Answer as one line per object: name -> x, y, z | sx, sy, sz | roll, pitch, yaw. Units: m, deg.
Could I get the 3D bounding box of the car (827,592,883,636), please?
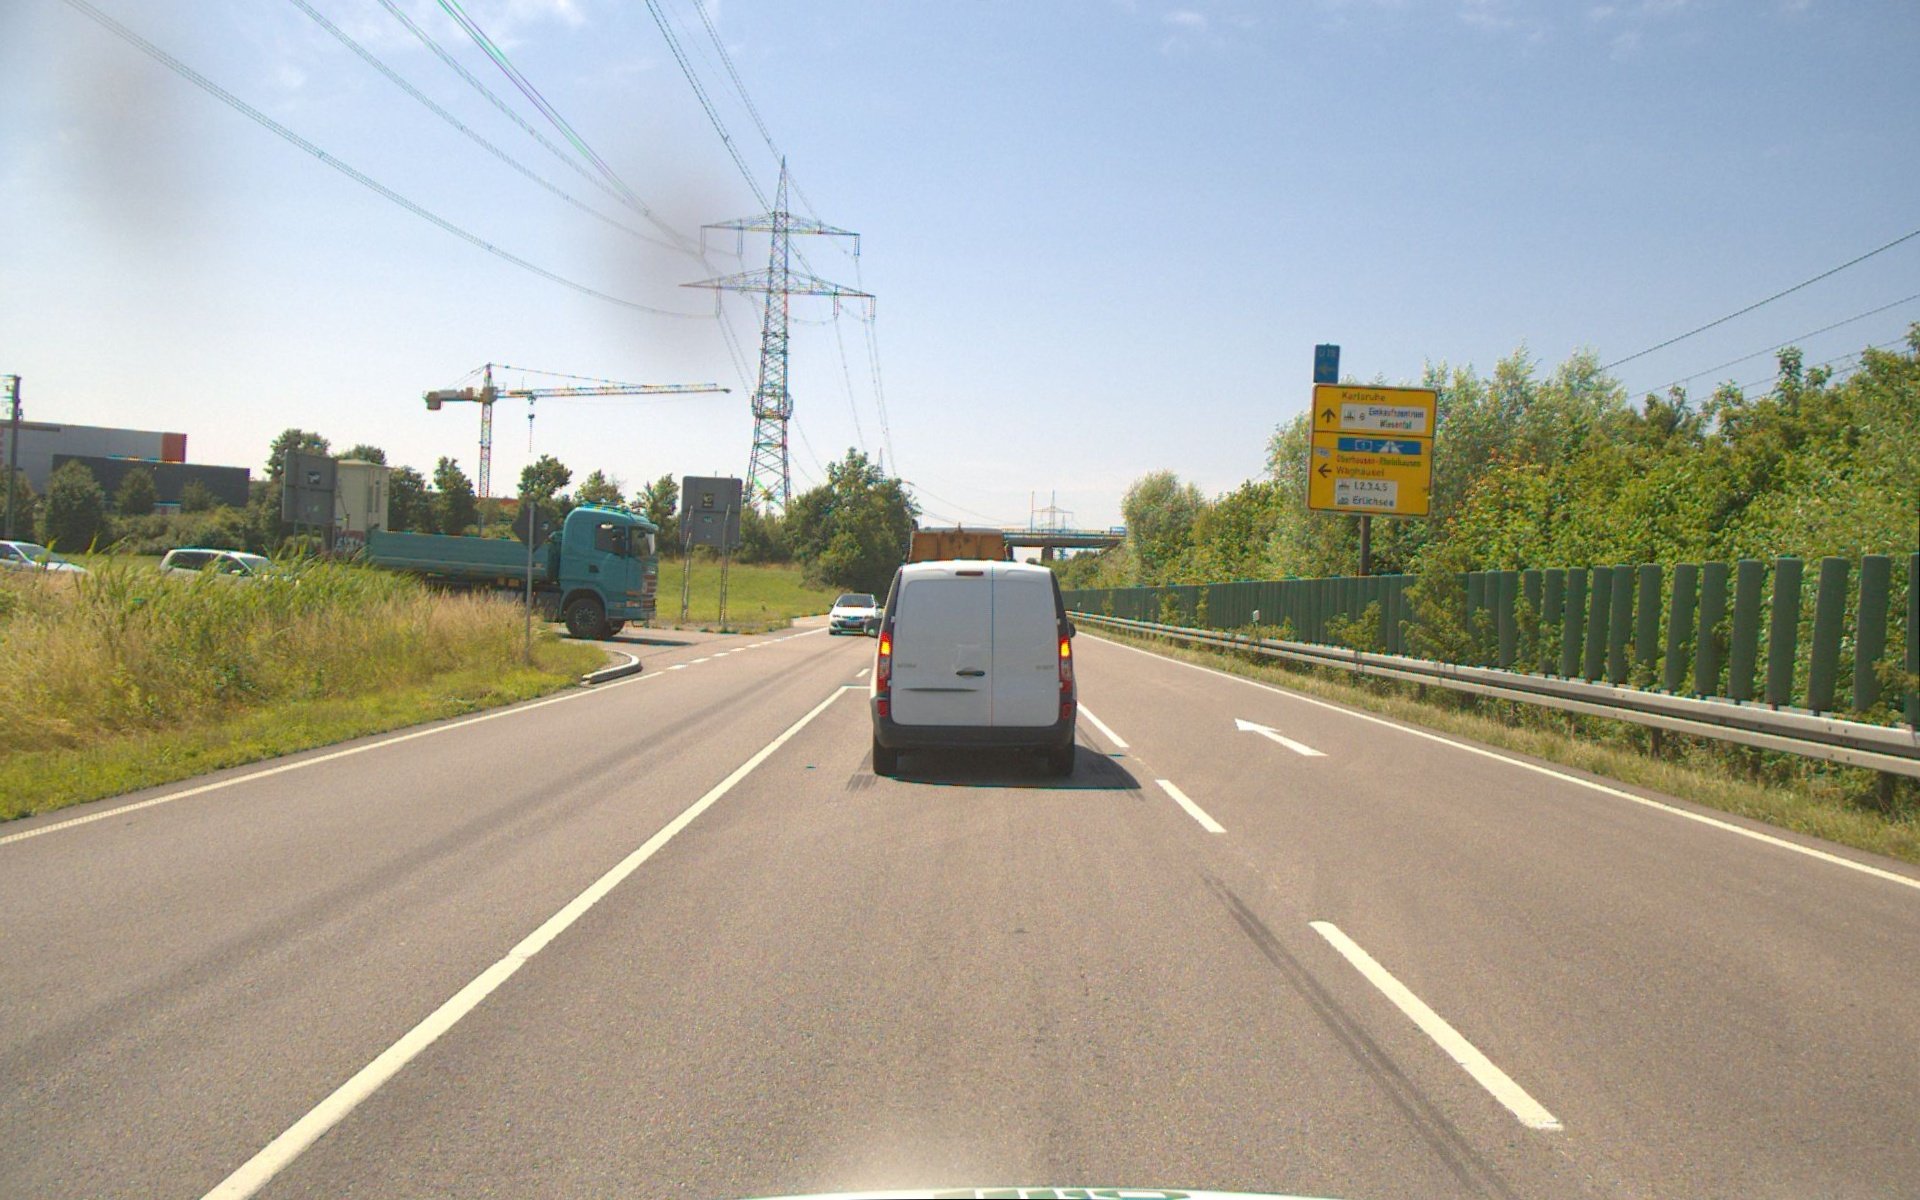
car -> -3.802, 0.475, 60.298 | 1.689, 1.466, 4.249 | 2, 0, 0

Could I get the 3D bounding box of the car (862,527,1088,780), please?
car -> 0.119, 0.423, 15.293 | 1.789, 2.005, 4.000 | 1, 0, 0

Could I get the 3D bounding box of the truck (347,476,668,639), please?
truck -> -12.107, -1.121, 44.625 | 7.741, 3.799, 2.499 | 4, 0, 2

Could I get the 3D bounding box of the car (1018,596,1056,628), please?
car -> 4.002, 0.603, 86.311 | 1.810, 1.601, 4.000 | 1, 0, 0

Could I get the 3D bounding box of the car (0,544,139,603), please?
car -> -25.296, -0.754, 45.858 | 4.337, 1.496, 1.720 | 3, 0, 11

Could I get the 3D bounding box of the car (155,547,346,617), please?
car -> -19.281, -0.481, 44.990 | 4.445, 1.640, 1.969 | 3, 0, 15

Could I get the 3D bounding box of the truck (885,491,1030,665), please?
truck -> -0.010, -0.508, 37.271 | 2.762, 3.345, 9.701 | 1, 1, 0

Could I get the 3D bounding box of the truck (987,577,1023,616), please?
truck -> 3.277, -0.251, 122.137 | 2.326, 2.736, 8.009 | 2, 0, 0
